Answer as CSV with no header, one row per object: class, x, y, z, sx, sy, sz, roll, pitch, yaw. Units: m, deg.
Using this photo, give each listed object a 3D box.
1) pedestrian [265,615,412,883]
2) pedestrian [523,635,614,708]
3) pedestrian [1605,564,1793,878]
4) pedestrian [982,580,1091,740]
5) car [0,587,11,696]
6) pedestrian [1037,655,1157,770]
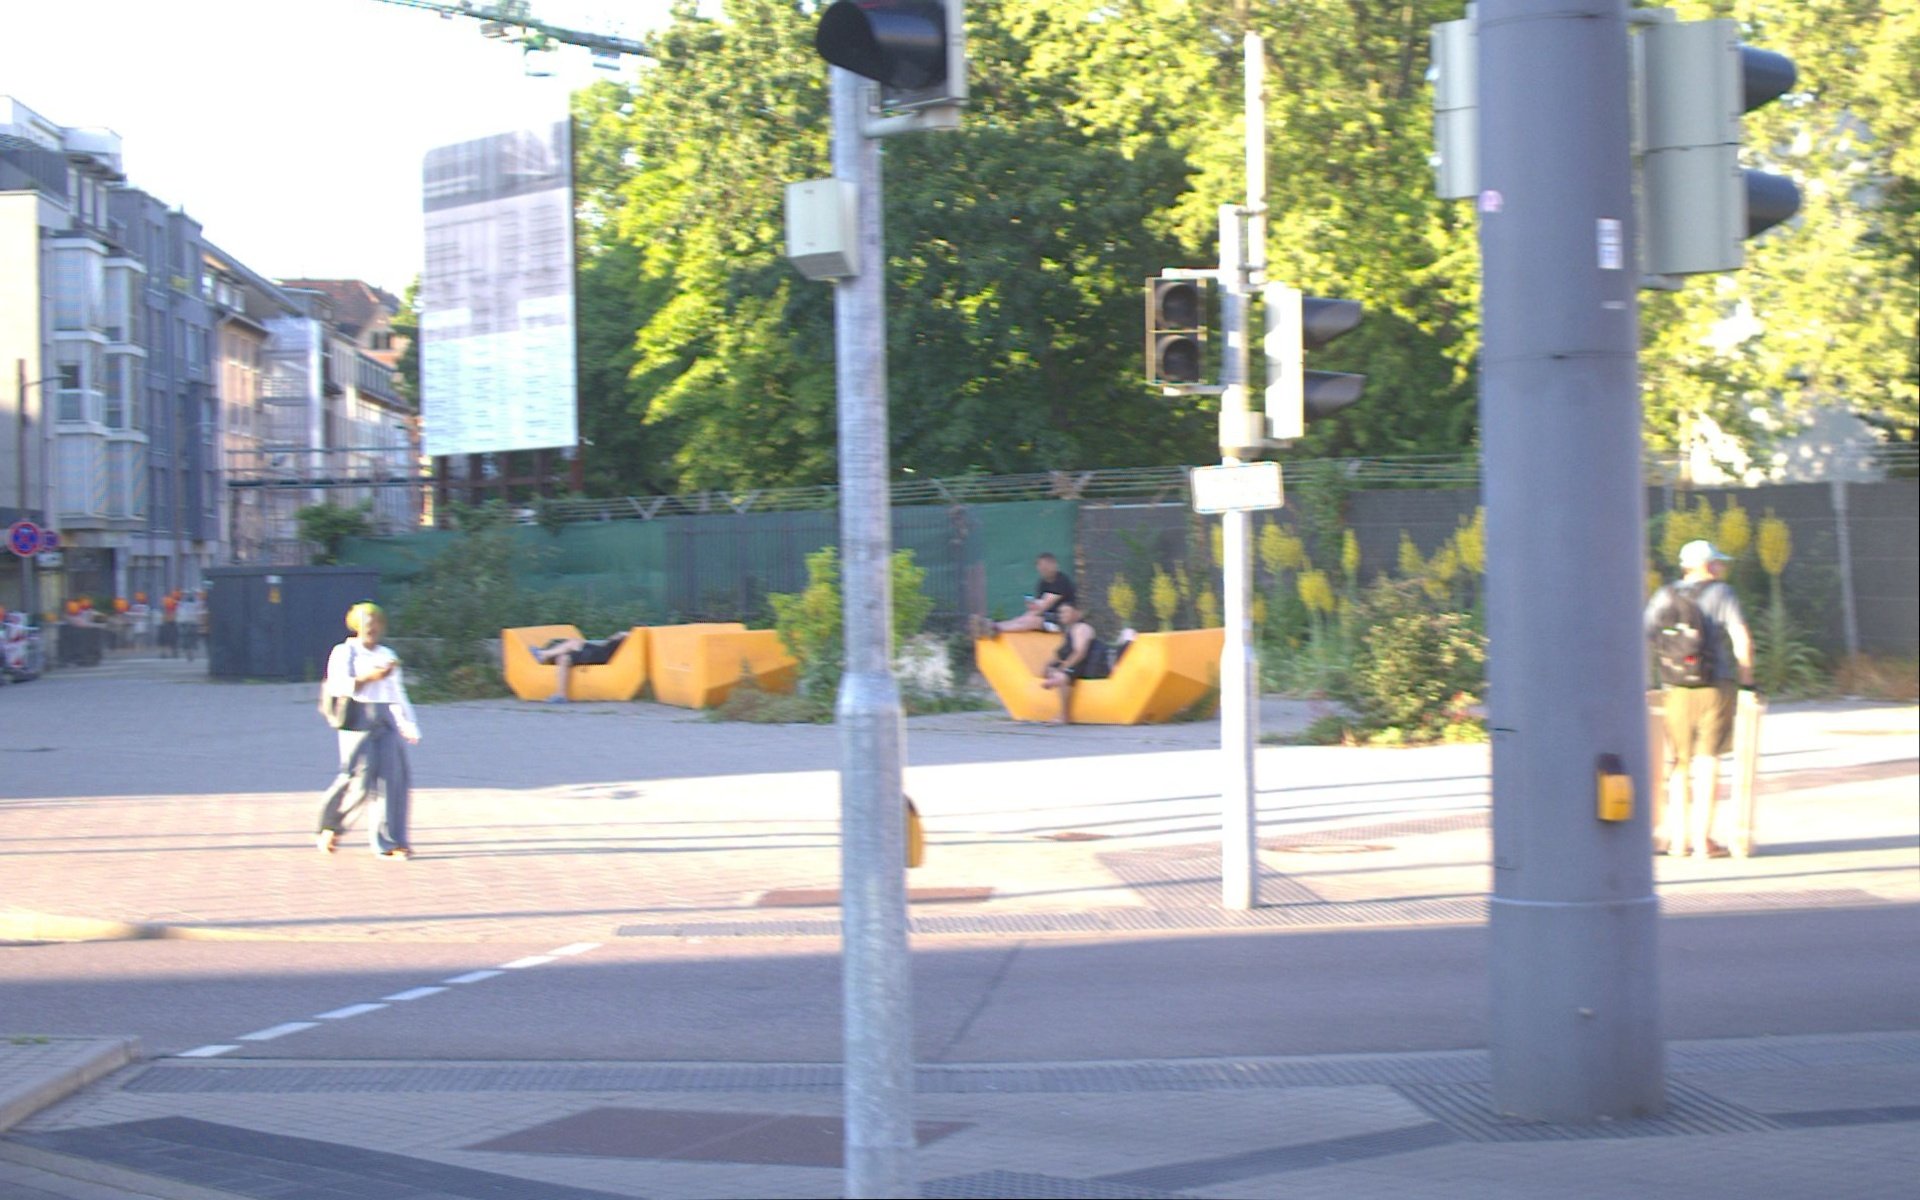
pedestrian,-3.840,0.906,21.233,0.687,1.608,0.596,-1,0,-33
pedestrian,-4.850,0.883,42.612,0.980,0.890,0.561,-1,0,33
pedestrian,4.172,0.671,19.464,0.941,1.730,0.821,-1,0,7
pedestrian,0.810,0.626,36.379,0.820,1.659,0.764,-1,0,-35
car,-17.104,0.719,57.115,1.712,1.842,4.022,0,0,-3
pedestrian,1.426,1.160,35.701,0.987,1.154,0.735,-1,0,-36
